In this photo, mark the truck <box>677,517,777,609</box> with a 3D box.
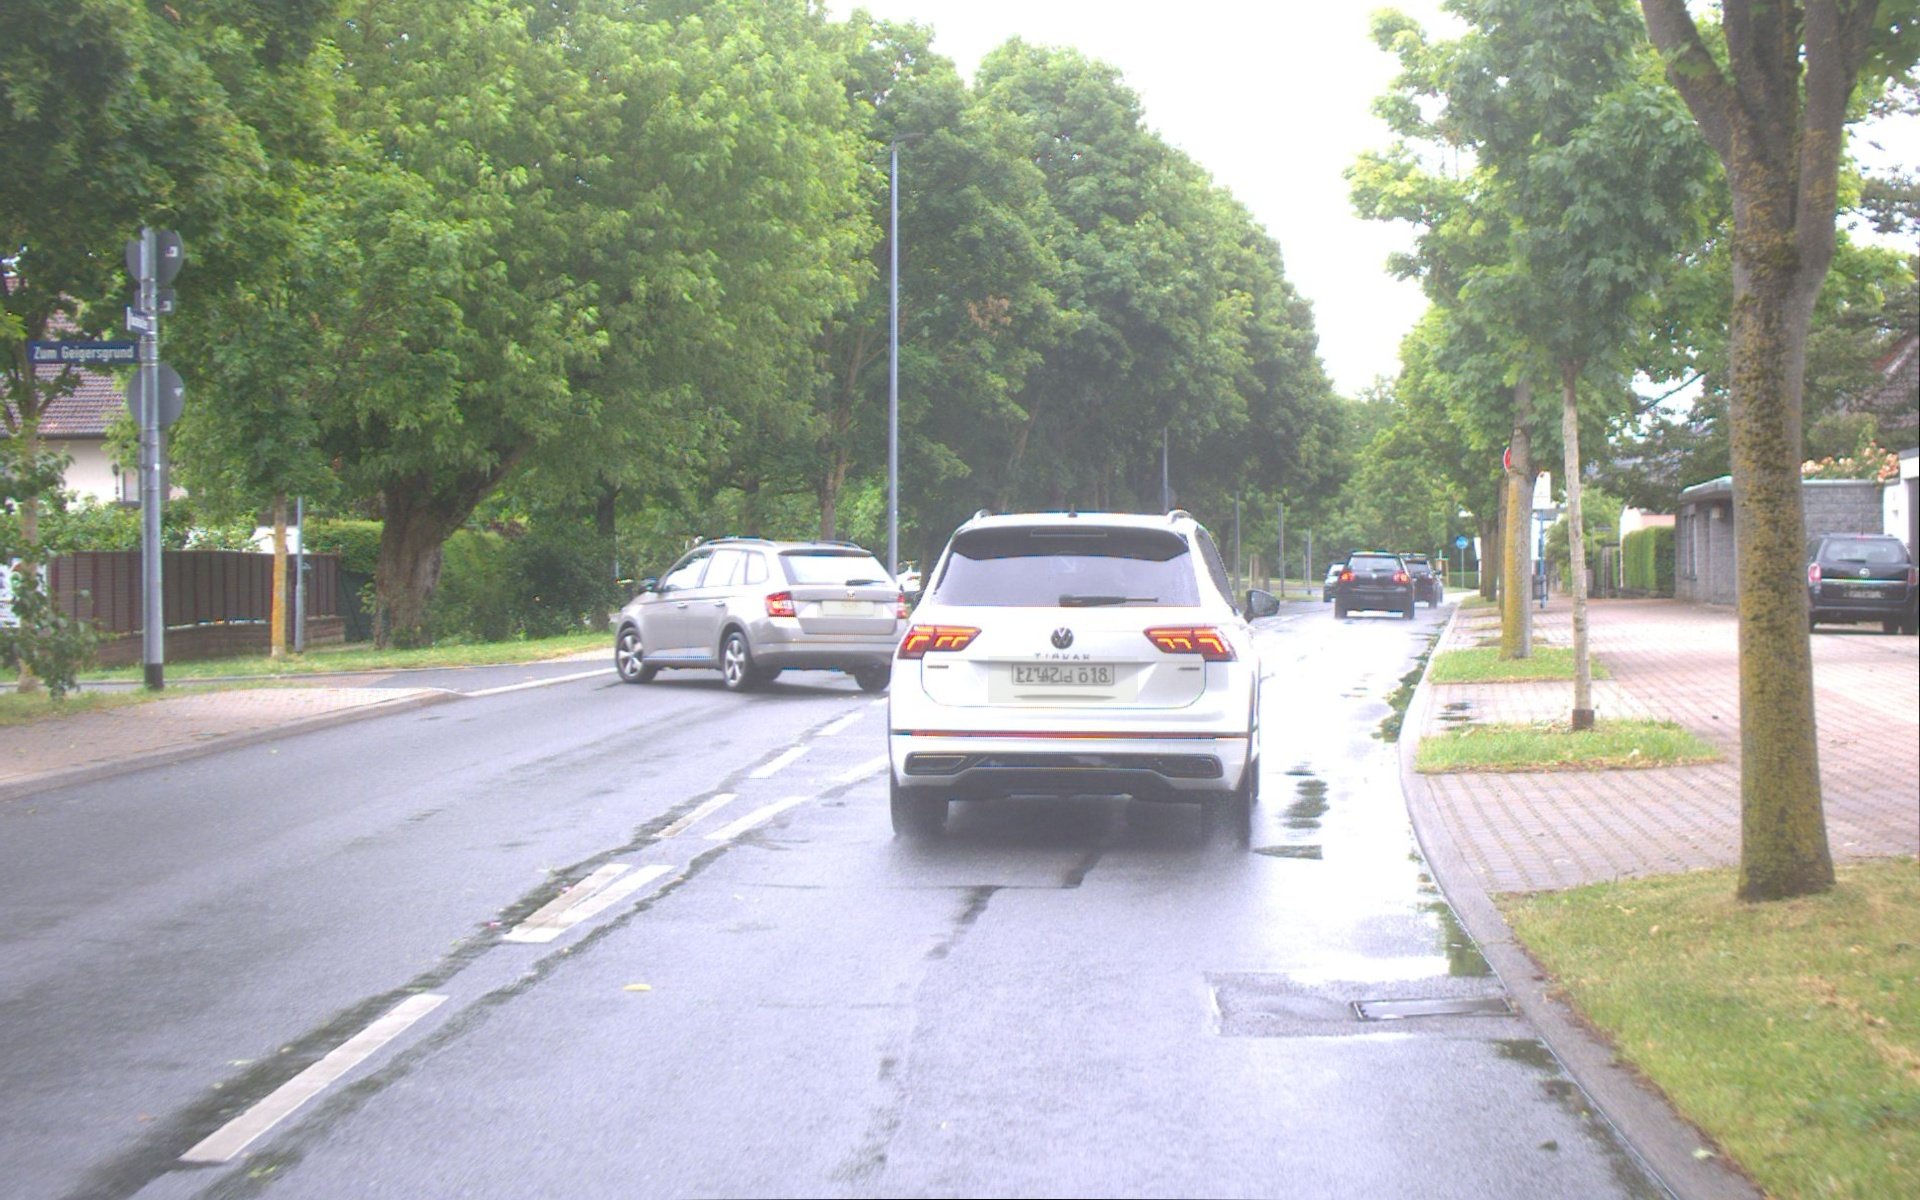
[{"bbox_3d":[-6.782,-1.088,100.554,2.285,2.588,5.874,-1,0,2],"label":"truck"}]

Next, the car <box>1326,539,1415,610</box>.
[{"bbox_3d":[9.336,-0.597,78.040,1.841,1.482,3.999,2,1,8],"label":"car"}]

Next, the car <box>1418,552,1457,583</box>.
[{"bbox_3d":[21.675,-1.502,156.258,1.637,1.322,3.999,2,1,7],"label":"car"}]

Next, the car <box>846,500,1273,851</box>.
[{"bbox_3d":[0.645,0.318,18.291,1.997,1.626,3.999,1,1,5],"label":"car"}]

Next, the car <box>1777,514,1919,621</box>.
[{"bbox_3d":[13.243,-0.494,51.197,1.772,1.493,4.542,-1,1,10],"label":"car"}]

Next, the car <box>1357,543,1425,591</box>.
[{"bbox_3d":[14.084,-1.073,112.496,1.840,1.482,4.000,-2,0,3],"label":"car"}]

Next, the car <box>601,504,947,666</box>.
[{"bbox_3d":[-1.924,-0.135,34.423,1.840,1.482,4.000,-2,0,-29],"label":"car"}]
